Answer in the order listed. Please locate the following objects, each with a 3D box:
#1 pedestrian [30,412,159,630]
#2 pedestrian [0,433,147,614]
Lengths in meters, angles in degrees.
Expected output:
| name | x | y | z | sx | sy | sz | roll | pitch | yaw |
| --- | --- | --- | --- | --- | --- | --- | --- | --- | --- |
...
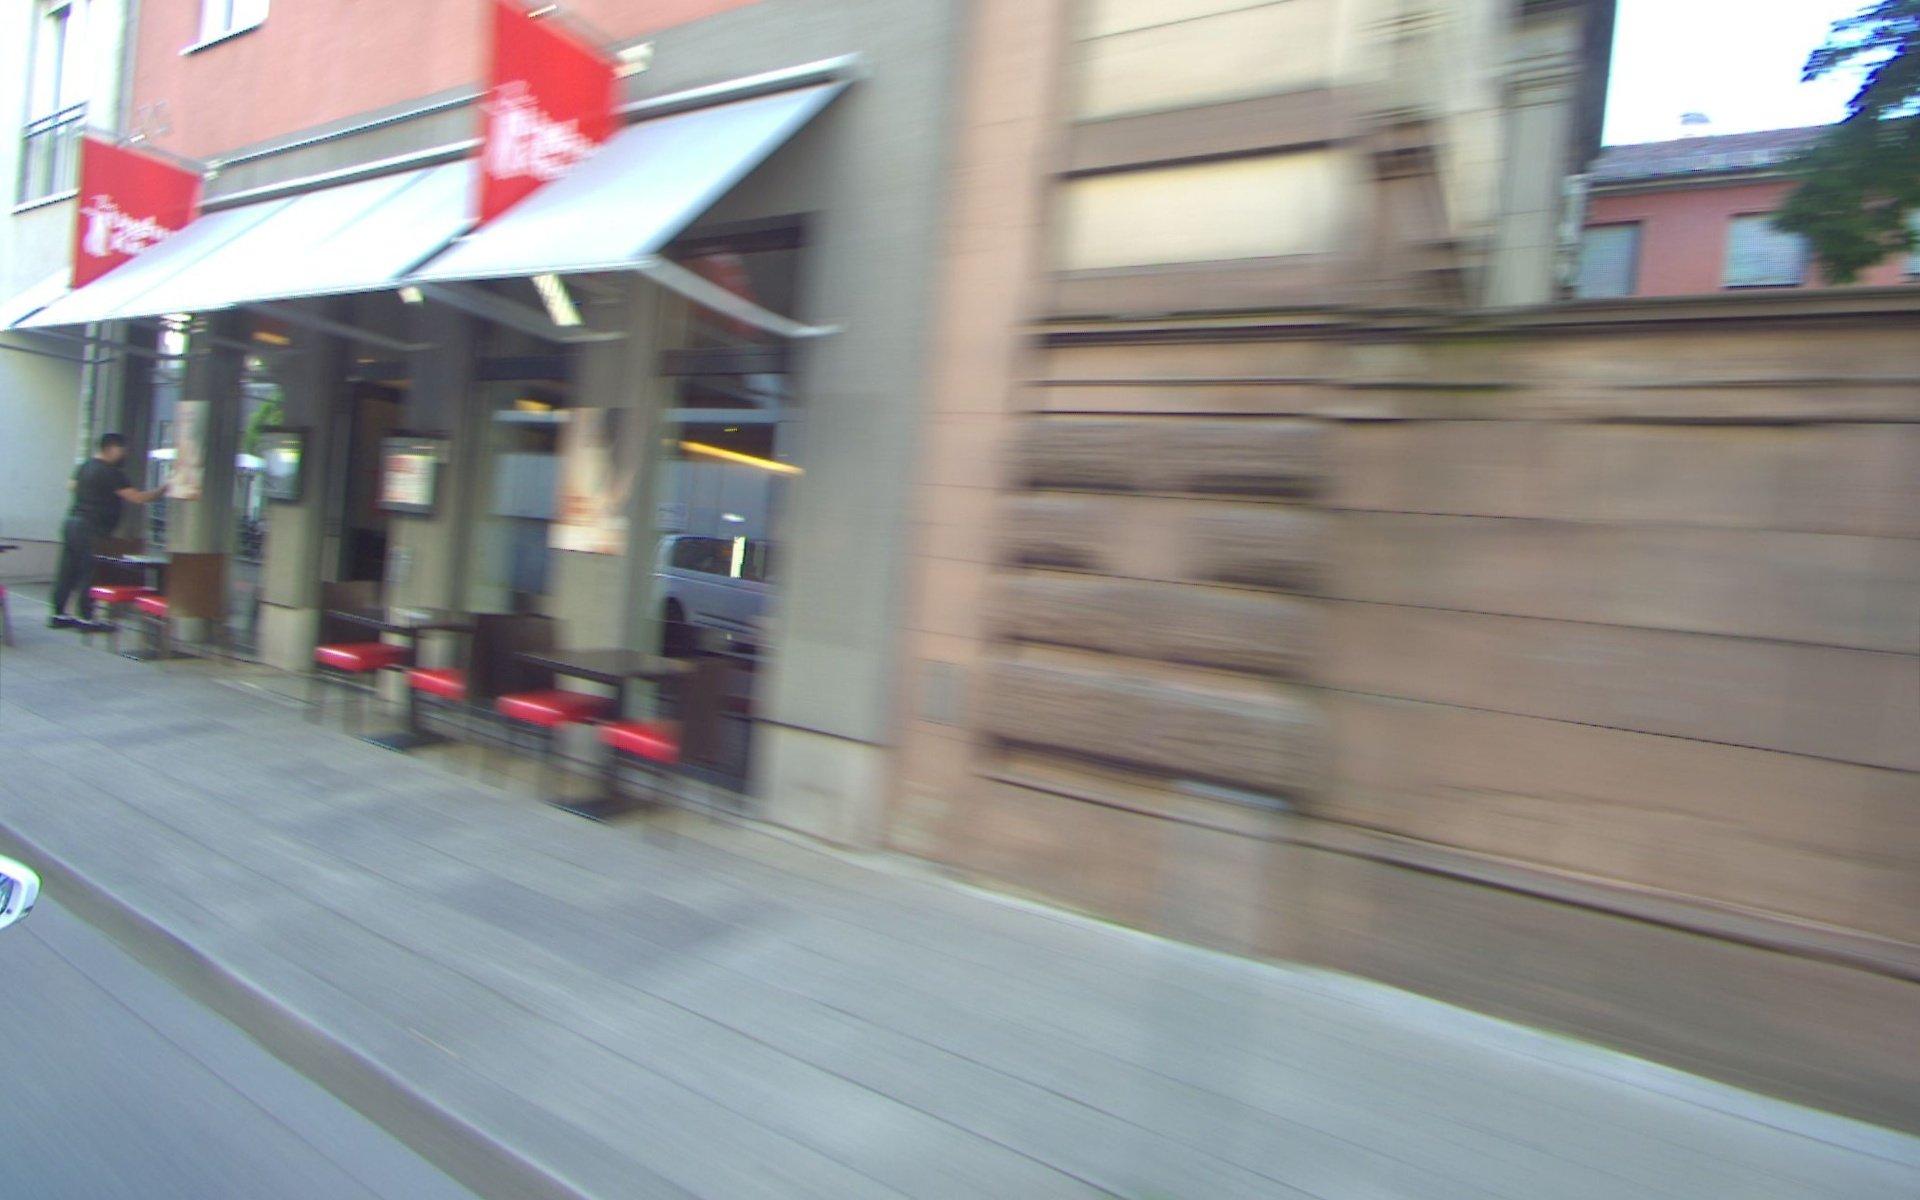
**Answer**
| name | x | y | z | sx | sy | sz | roll | pitch | yaw |
| --- | --- | --- | --- | --- | --- | --- | --- | --- | --- |
| pedestrian | -7.655 | -0.690 | 8.902 | 0.718 | 1.818 | 0.657 | 7 | 5 | 30 |
| pedestrian | -8.031 | -0.672 | 9.077 | 0.650 | 1.505 | 0.825 | 7 | 2 | 30 |
